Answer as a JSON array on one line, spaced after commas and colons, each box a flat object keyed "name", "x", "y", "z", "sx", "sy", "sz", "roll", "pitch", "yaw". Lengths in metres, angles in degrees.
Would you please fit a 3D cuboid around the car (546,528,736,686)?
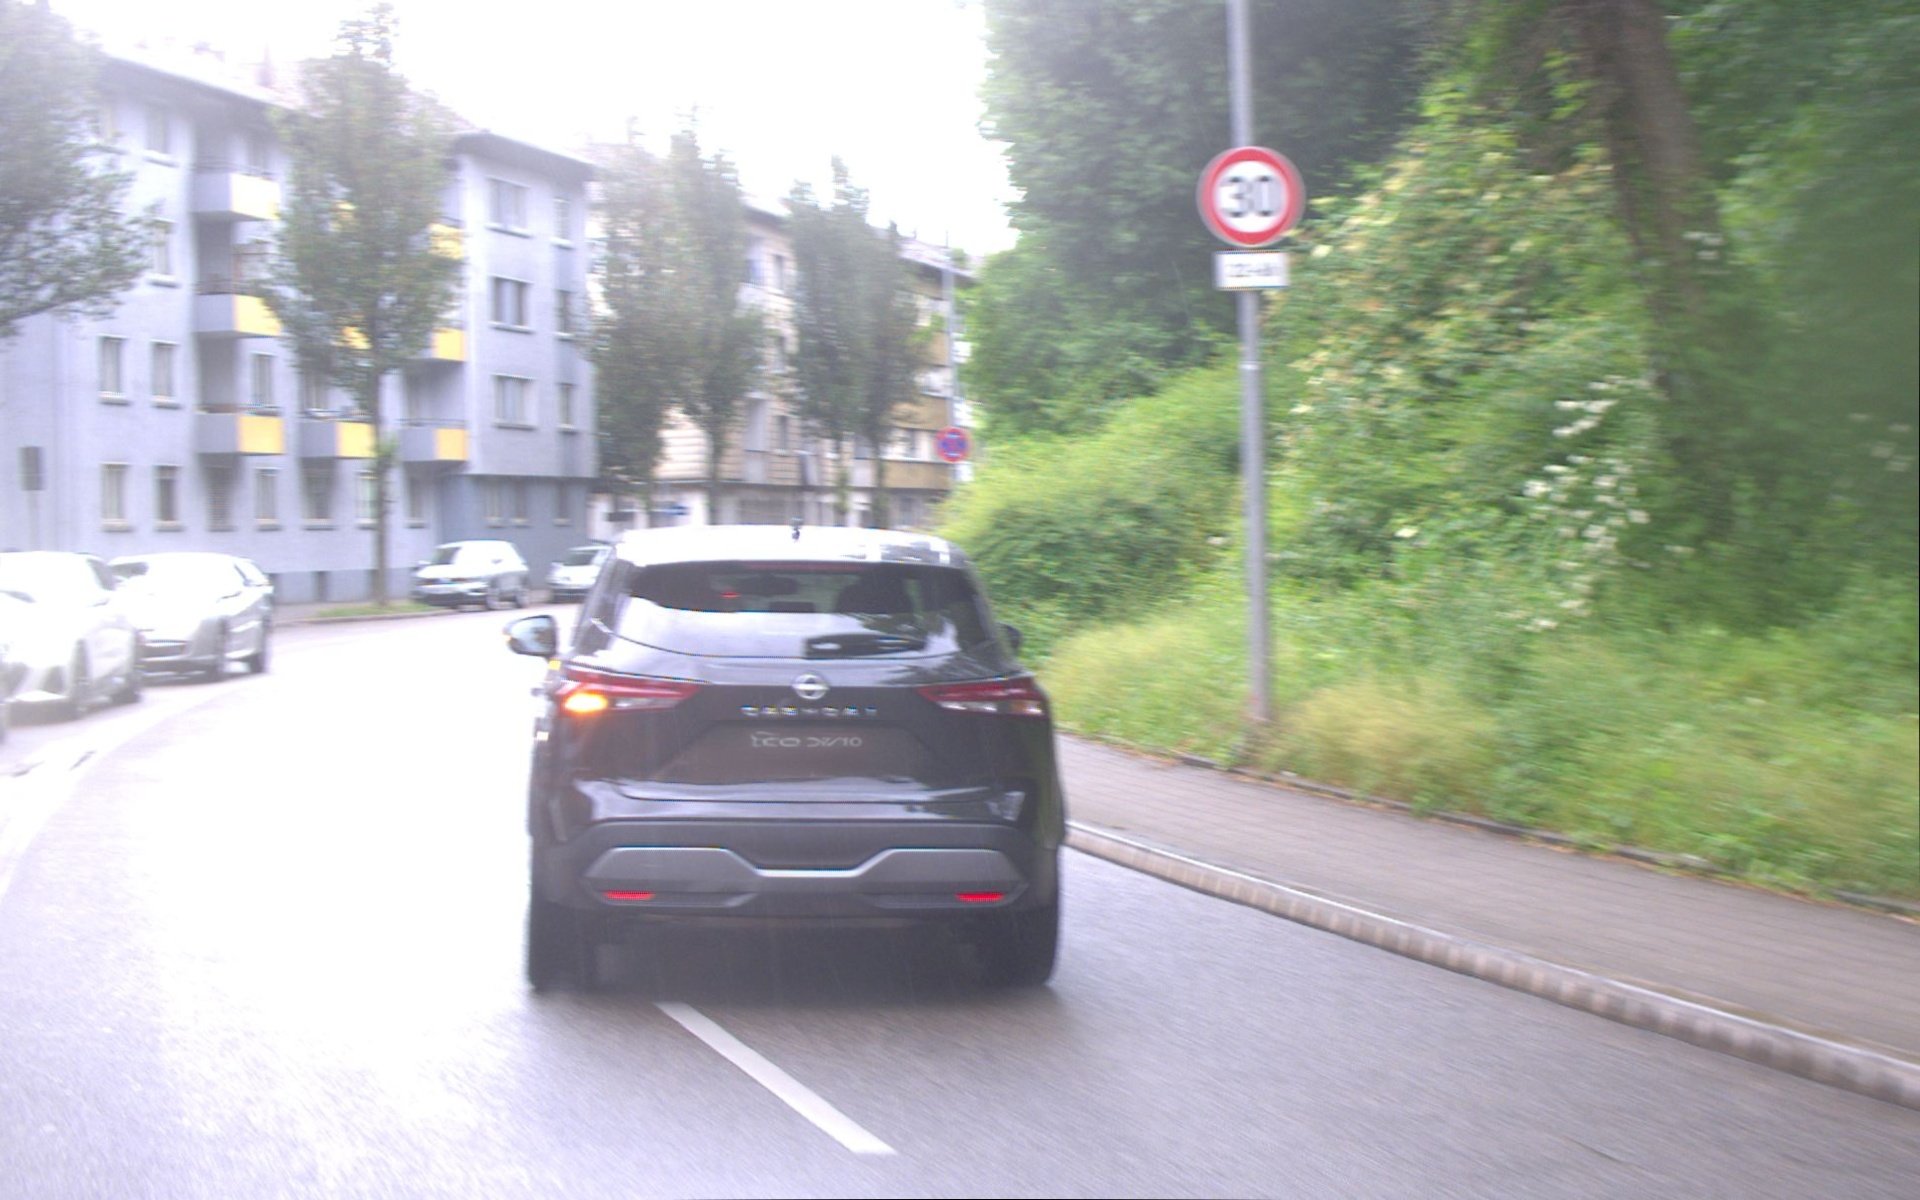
[{"name": "car", "x": -3.638, "y": 0.031, "z": 39.811, "sx": 1.887, "sy": 1.705, "sz": 4.000, "roll": -1, "pitch": 1, "yaw": -1}]

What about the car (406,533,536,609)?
[{"name": "car", "x": -11.235, "y": -0.702, "z": 79.206, "sx": 1.764, "sy": 1.598, "sz": 4.532, "roll": -2, "pitch": 1, "yaw": 7}]

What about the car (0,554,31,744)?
[{"name": "car", "x": -8.154, "y": 0.425, "z": 25.824, "sx": 1.679, "sy": 1.442, "sz": 3.821, "roll": -3, "pitch": 1, "yaw": -7}]

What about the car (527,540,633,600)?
[{"name": "car", "x": -9.924, "y": -0.811, "z": 89.969, "sx": 1.725, "sy": 1.448, "sz": 4.204, "roll": -2, "pitch": 1, "yaw": 8}]

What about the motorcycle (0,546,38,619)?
[{"name": "motorcycle", "x": -19.151, "y": -0.360, "z": 69.072, "sx": 0.675, "sy": 1.409, "sz": 2.236, "roll": 1, "pitch": 1, "yaw": -1}]

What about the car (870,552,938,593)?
[{"name": "car", "x": -2.089, "y": -1.057, "z": 129.438, "sx": 1.626, "sy": 1.382, "sz": 3.986, "roll": -2, "pitch": 1, "yaw": 12}]

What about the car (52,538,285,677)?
[{"name": "car", "x": -9.004, "y": 0.041, "z": 39.458, "sx": 1.752, "sy": 1.420, "sz": 4.537, "roll": -2, "pitch": 1, "yaw": -2}]

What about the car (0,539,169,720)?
[{"name": "car", "x": -8.787, "y": 0.243, "z": 32.254, "sx": 1.820, "sy": 1.511, "sz": 5.029, "roll": -3, "pitch": 1, "yaw": -4}]

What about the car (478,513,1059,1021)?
[{"name": "car", "x": -0.846, "y": 0.475, "z": 12.938, "sx": 1.844, "sy": 1.577, "sz": 4.001, "roll": 0, "pitch": 2, "yaw": -7}]
